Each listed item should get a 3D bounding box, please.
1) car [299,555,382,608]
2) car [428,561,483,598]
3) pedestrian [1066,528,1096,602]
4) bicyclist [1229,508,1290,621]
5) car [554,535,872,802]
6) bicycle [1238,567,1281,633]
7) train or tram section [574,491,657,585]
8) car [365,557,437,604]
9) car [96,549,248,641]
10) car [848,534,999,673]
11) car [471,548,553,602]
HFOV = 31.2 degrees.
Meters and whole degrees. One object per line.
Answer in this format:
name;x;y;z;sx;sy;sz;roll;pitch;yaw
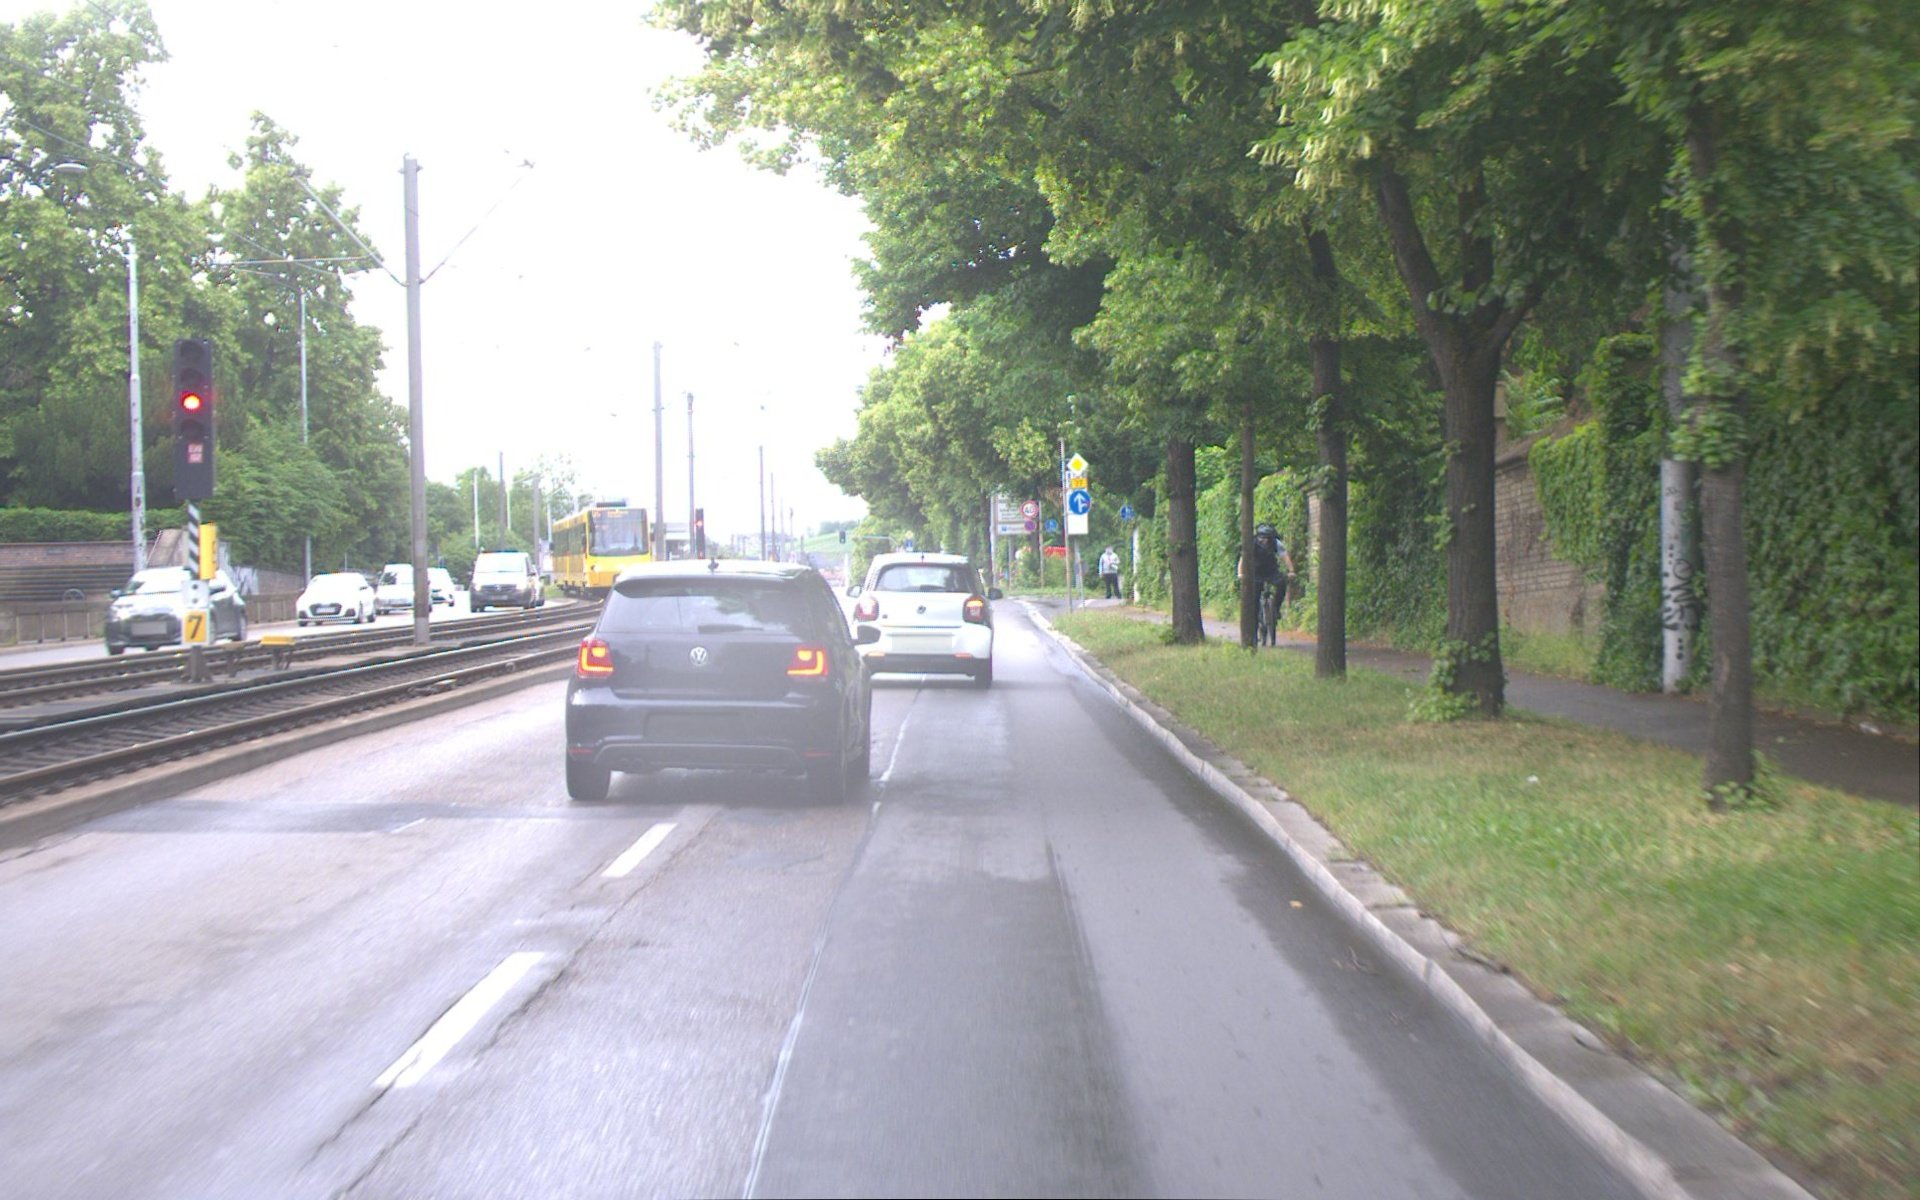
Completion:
car;-17.255;-0.531;95.870;1.616;1.429;4.000;0;1;-1
car;-18.812;-0.756;128.296;1.558;1.334;3.649;0;0;-1
pedestrian;4.901;-1.417;139.317;1.164;2.967;0.948;0;1;0
bicyclist;4.318;-0.518;49.565;0.763;1.610;0.999;-1;1;0
car;-1.463;0.356;21.655;1.794;1.480;3.965;1;1;-1
bicycle;4.315;-0.011;49.572;0.407;0.899;2.099;-1;1;0
train or tram section;-13.593;-2.458;136.119;2.832;3.593;9.272;0;1;-3
car;-18.179;-0.654;111.911;1.728;1.438;4.000;0;1;-1
car;-13.287;-0.106;58.142;1.681;1.456;3.608;-1;1;1
car;-0.401;0.000;40.400;1.676;1.525;3.722;-1;1;0
car;-14.390;-0.826;110.621;1.993;1.656;5.127;0;1;-1
